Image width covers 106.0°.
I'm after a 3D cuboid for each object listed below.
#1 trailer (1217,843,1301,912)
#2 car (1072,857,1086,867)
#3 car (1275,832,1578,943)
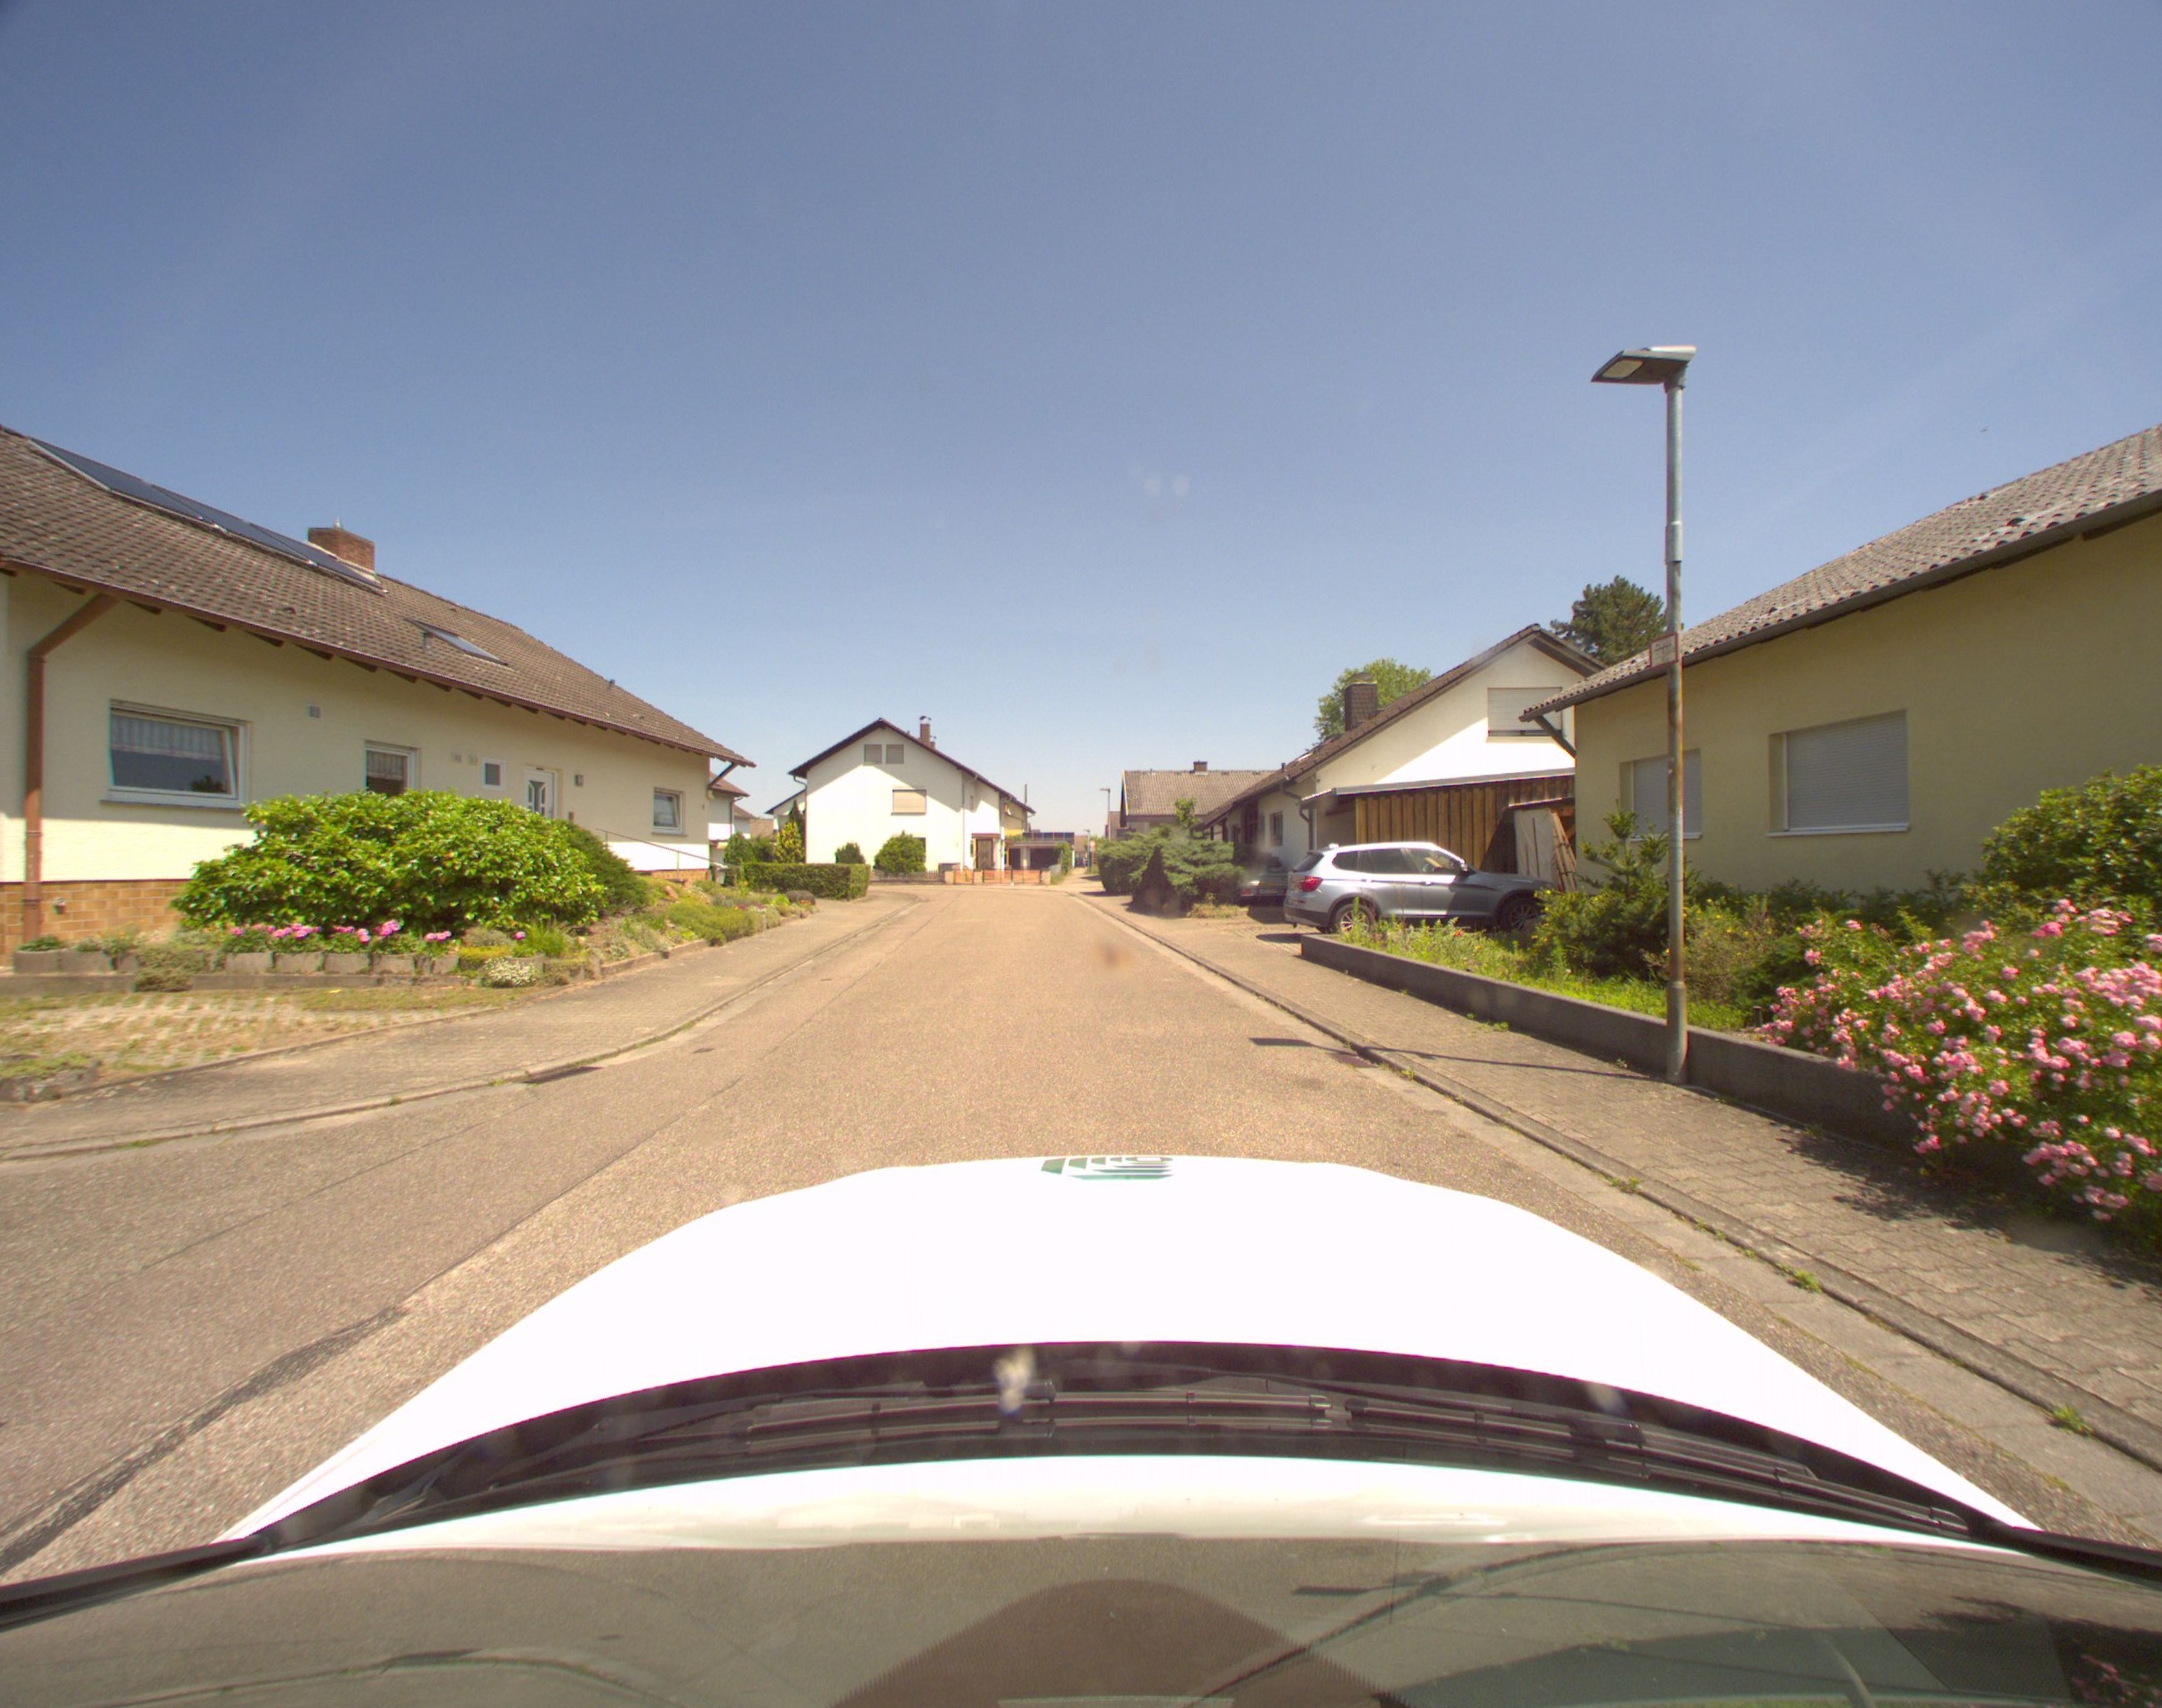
[{"bbox_3d":[4.732,0.590,21.987,1.581,1.672,3.297,-2,0,1],"label":"trailer"},{"bbox_3d":[-0.300,1.344,140.176,2.185,1.701,3.808,-1,0,1],"label":"car"},{"bbox_3d":[5.920,0.575,14.390,4.607,1.702,1.711,-2,-1,3],"label":"car"}]
